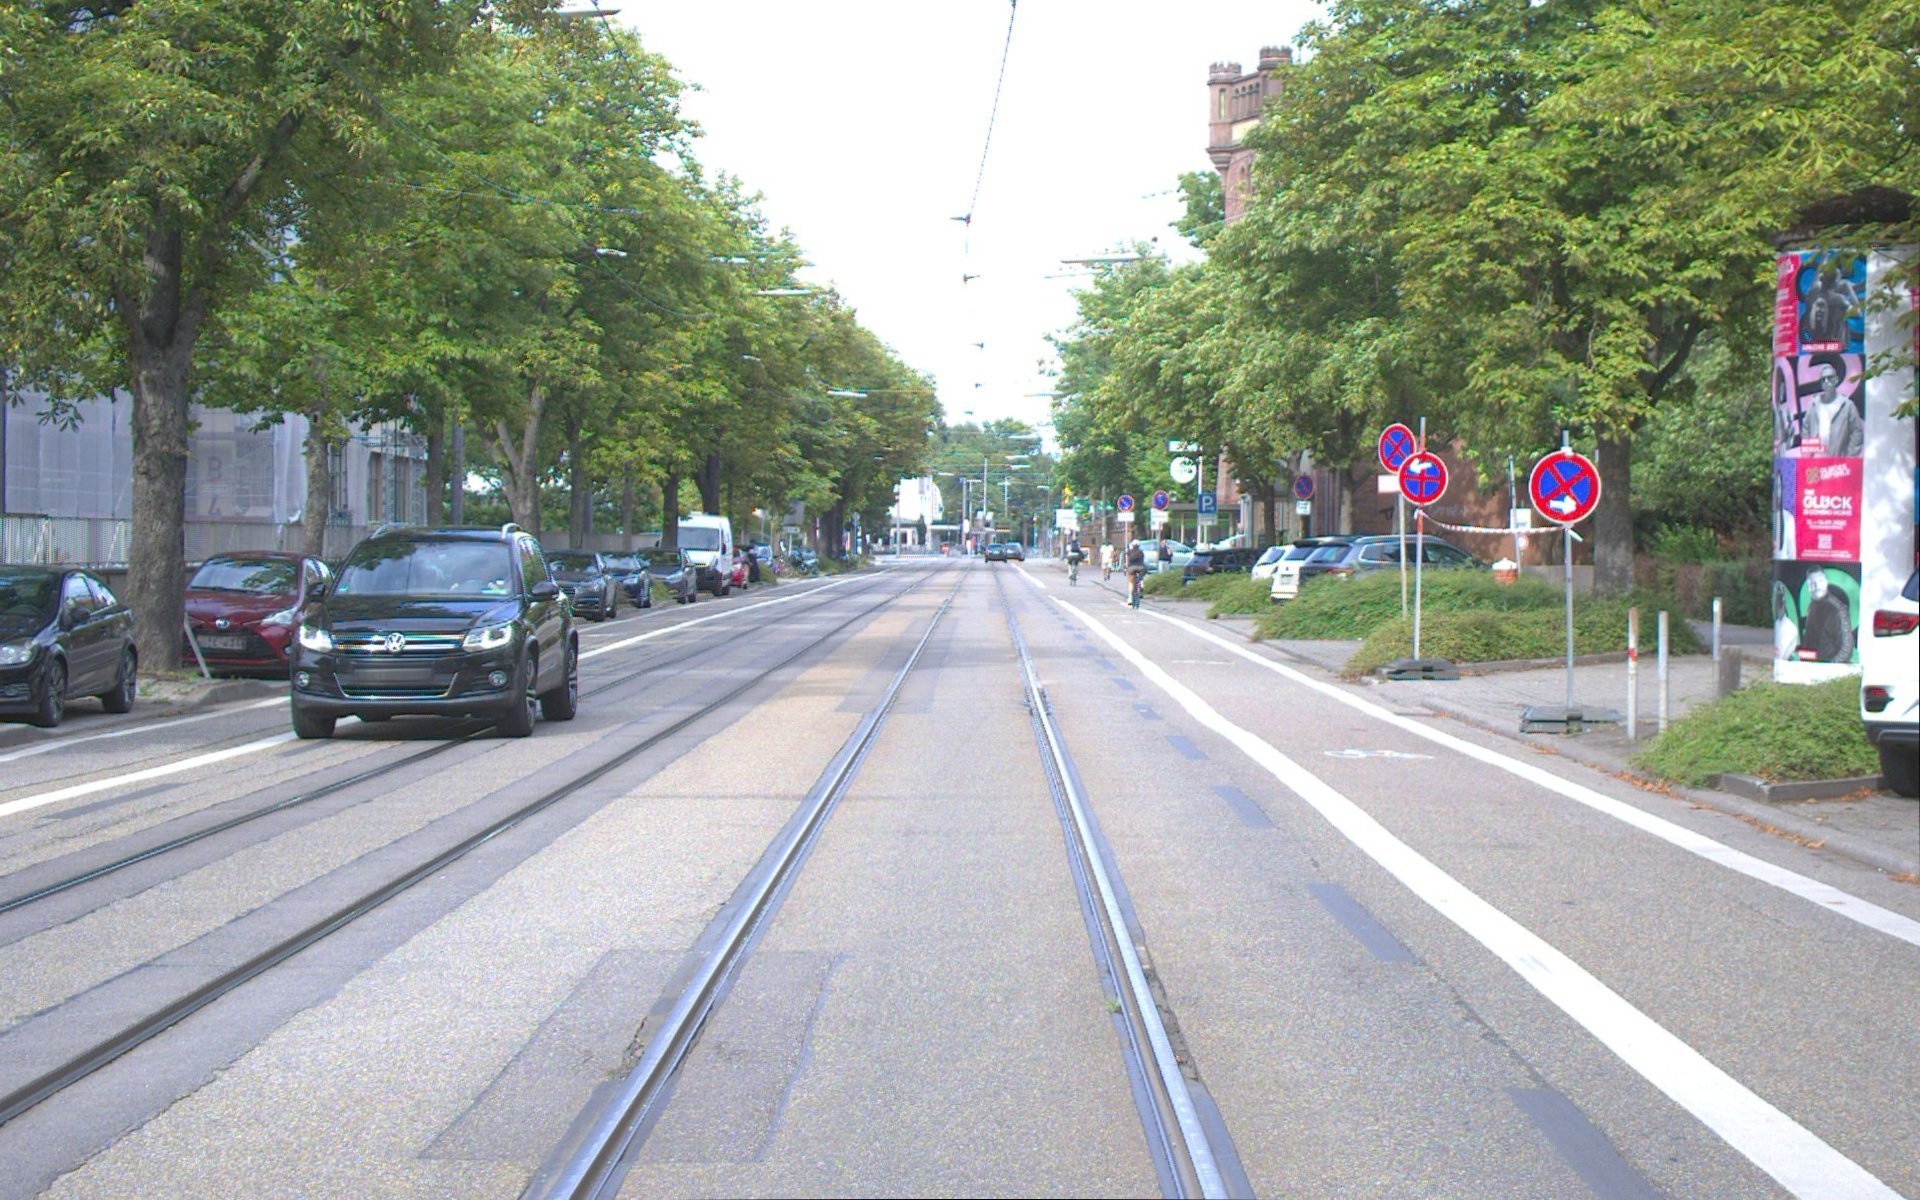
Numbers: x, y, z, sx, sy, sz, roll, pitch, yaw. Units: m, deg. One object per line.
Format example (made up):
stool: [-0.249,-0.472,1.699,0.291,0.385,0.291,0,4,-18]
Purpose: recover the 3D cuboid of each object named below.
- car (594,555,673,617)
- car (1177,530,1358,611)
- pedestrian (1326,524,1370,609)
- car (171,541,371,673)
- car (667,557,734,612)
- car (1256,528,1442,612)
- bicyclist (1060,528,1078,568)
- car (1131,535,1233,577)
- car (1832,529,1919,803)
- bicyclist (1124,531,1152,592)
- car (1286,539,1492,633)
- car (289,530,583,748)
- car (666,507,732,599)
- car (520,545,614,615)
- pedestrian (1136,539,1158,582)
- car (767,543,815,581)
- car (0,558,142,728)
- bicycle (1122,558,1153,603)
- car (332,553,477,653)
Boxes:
car: [-7.726,-0.339,81.619,1.590,1.398,3.963,1,1,-2]
car: [6.197,-0.589,69.129,3.637,1.597,1.681,0,1,-45]
pedestrian: [8.356,-0.719,73.981,0.786,1.820,0.661,1,1,21]
car: [-8.273,0.048,41.591,1.635,1.491,3.963,1,1,0]
car: [-6.912,-0.422,91.809,1.590,1.398,3.963,1,1,-2]
car: [7.595,-0.587,66.974,3.637,1.597,1.681,0,1,-45]
bicyclist: [4.078,-1.957,128.812,0.659,1.491,0.929,1,1,1]
car: [9.234,-1.840,143.326,3.986,1.687,2.000,1,1,-5]
car: [7.073,0.384,21.139,3.637,1.597,1.681,0,1,-45]
bicyclist: [4.262,-0.935,82.474,0.592,1.454,0.875,1,1,-2]
car: [7.532,-0.244,60.178,3.637,1.597,1.681,0,1,-45]
car: [-4.189,0.249,28.099,1.732,1.623,4.378,-1,1,0]
car: [-7.955,-1.442,105.156,1.720,2.695,5.471,1,1,-2]
car: [-8.132,-0.440,71.399,1.590,1.398,3.963,1,1,-2]
pedestrian: [7.785,-1.647,143.154,0.748,1.783,0.730,1,0,16]
car: [-6.395,-1.470,130.587,1.590,1.398,3.550,1,1,0]
car: [-8.589,0.339,30.935,1.590,1.398,3.963,1,1,-2]
bicycle: [4.253,-0.474,82.481,0.592,1.040,1.978,1,1,-2]
car: [-8.165,0.015,50.799,1.590,1.398,3.963,1,1,-2]
